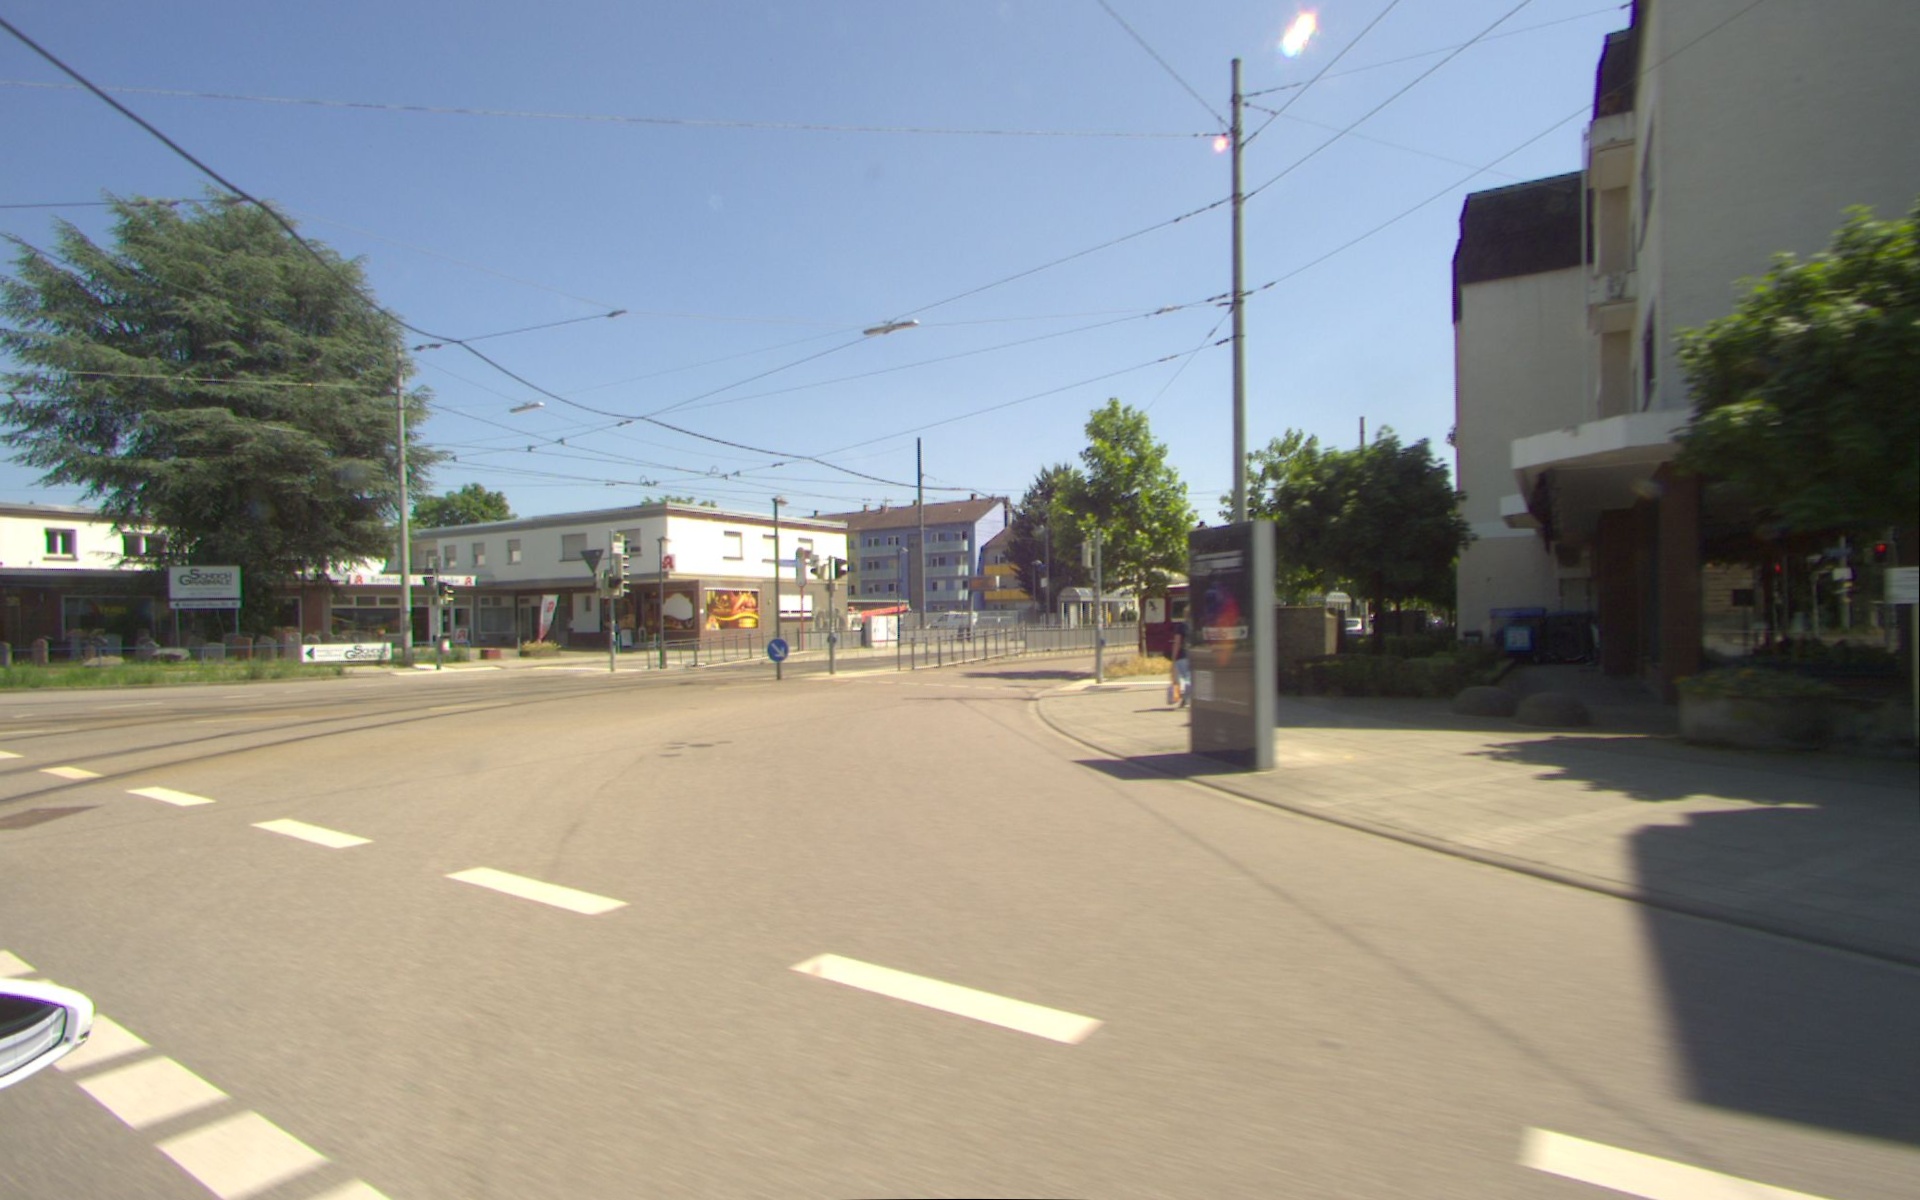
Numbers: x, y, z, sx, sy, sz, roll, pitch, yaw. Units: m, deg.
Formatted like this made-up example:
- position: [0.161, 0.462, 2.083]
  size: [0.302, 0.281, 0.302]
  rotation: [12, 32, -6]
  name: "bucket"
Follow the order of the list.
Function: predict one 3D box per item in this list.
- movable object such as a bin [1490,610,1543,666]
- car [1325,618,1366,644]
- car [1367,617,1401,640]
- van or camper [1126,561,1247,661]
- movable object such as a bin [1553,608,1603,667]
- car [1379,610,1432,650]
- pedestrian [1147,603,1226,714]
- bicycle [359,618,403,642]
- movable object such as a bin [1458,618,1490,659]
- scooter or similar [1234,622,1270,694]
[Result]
- position: [14.448, 0.977, 25.996]
  size: [1.177, 1.424, 1.054]
  rotation: [-1, -1, 31]
  name: "movable object such as a bin"
- position: [20.875, 1.662, 54.118]
  size: [1.431, 1.371, 3.345]
  rotation: [0, -1, 33]
  name: "car"
- position: [26.311, 1.745, 62.064]
  size: [1.431, 1.371, 3.345]
  rotation: [0, -1, 33]
  name: "car"
- position: [7.090, 0.346, 30.876]
  size: [2.175, 2.802, 5.216]
  rotation: [0, -1, 31]
  name: "van or camper"
- position: [15.505, 0.923, 25.158]
  size: [1.047, 1.424, 1.316]
  rotation: [-1, -1, 31]
  name: "movable object such as a bin"
- position: [18.870, 1.261, 42.348]
  size: [1.629, 1.630, 3.635]
  rotation: [-1, -1, 31]
  name: "car"
- position: [3.458, 0.865, 15.287]
  size: [0.820, 1.605, 0.818]
  rotation: [-4, 3, -43]
  name: "pedestrian"
- position: [-29.914, 1.573, 51.722]
  size: [0.592, 1.207, 1.861]
  rotation: [-2, -3, 43]
  name: "bicycle"
- position: [13.662, 1.016, 26.621]
  size: [0.703, 1.060, 0.741]
  rotation: [-1, -1, 31]
  name: "movable object such as a bin"
- position: [5.176, 1.004, 17.806]
  size: [0.387, 1.228, 1.256]
  rotation: [-1, -1, 6]
  name: "scooter or similar"
